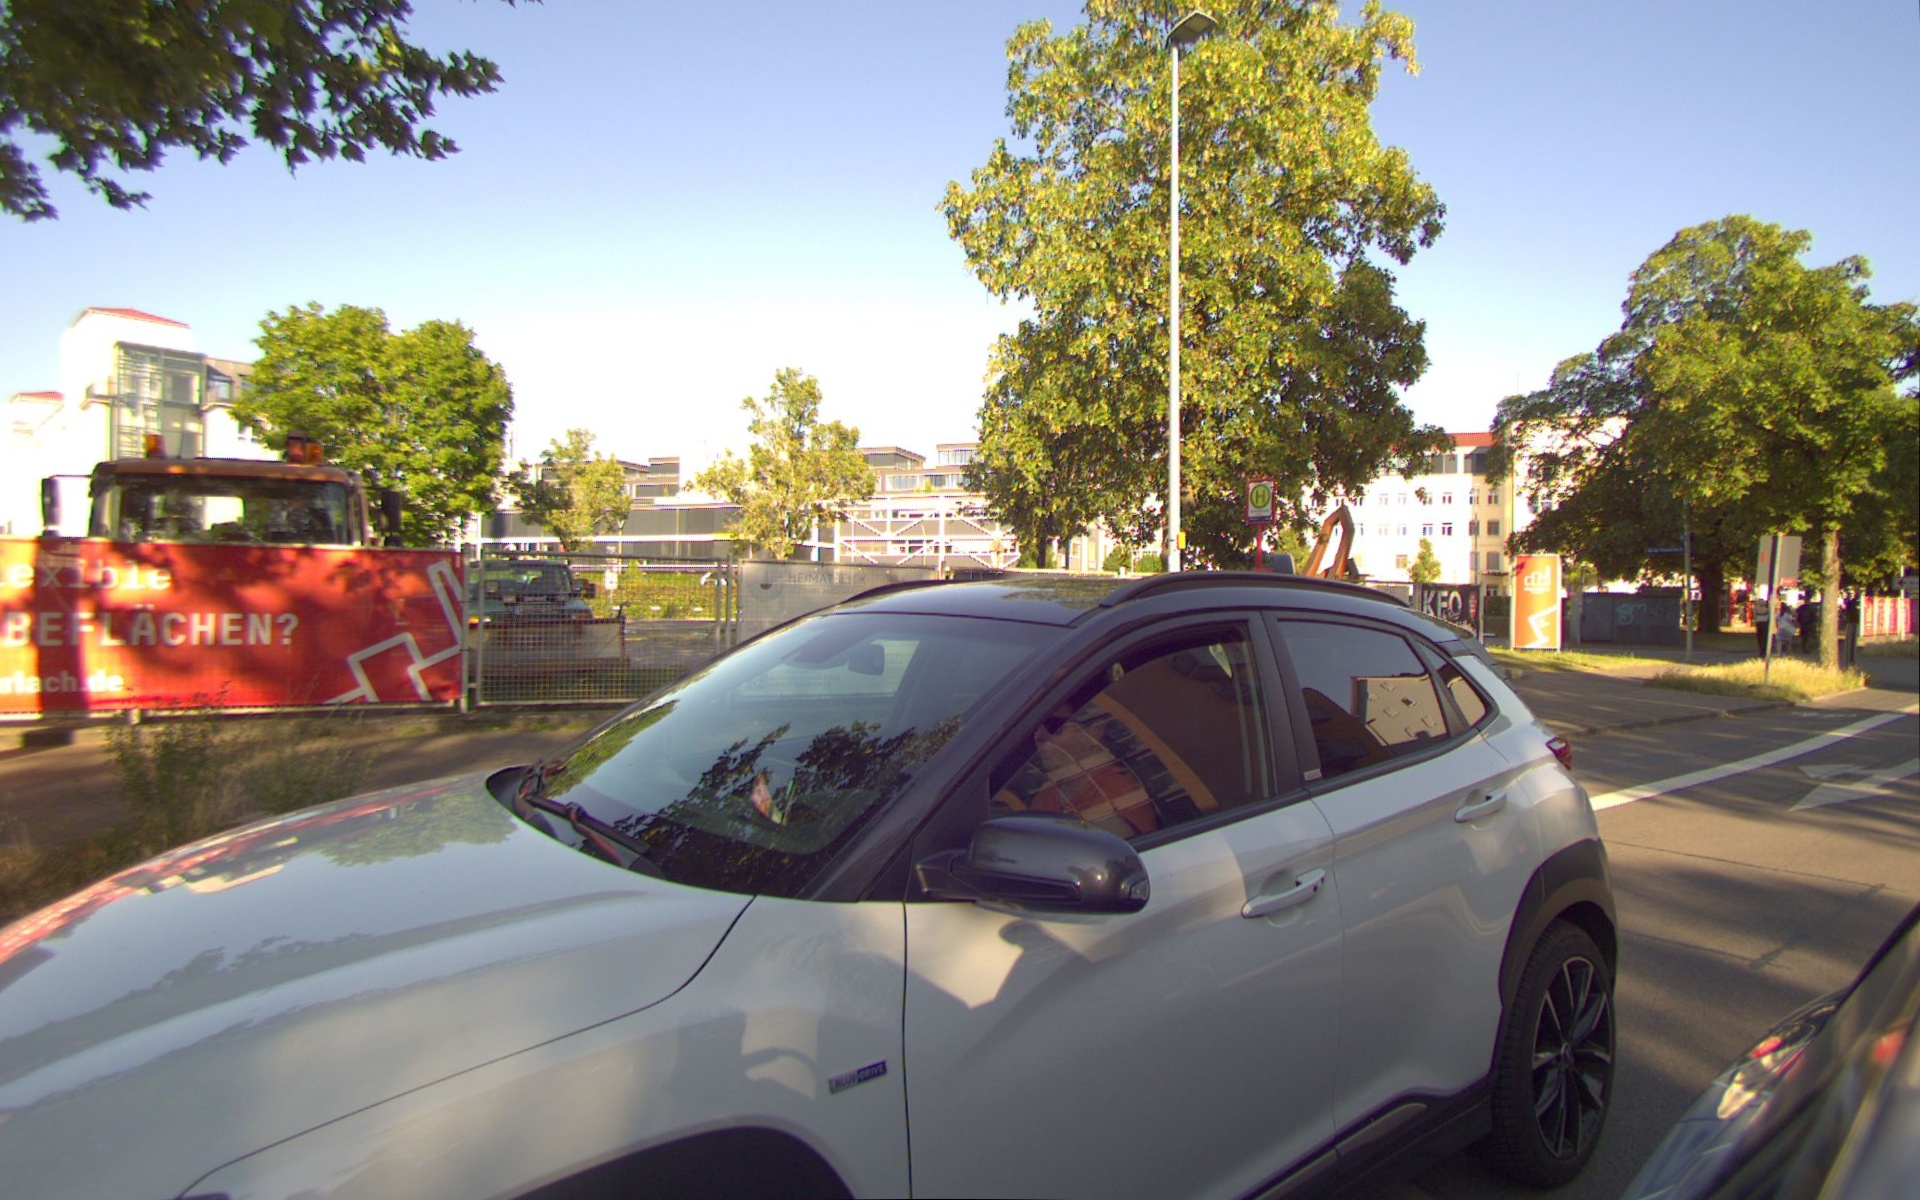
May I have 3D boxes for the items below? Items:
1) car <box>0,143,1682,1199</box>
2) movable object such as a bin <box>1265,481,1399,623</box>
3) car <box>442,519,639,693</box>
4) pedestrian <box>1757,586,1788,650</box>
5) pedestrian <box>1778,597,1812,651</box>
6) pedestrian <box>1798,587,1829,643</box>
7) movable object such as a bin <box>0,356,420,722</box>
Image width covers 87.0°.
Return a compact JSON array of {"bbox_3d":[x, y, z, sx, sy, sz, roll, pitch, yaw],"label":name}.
[{"bbox_3d":[0.003,0.548,2.454,3.893,1.618,1.894,3,-2,-39],"label":"car"},{"bbox_3d":[15.522,-1.885,42.766,3.910,5.547,6.022,0,0,6],"label":"movable object such as a bin"},{"bbox_3d":[-5.668,0.041,13.297,2.001,1.851,4.612,0,0,-28],"label":"car"},{"bbox_3d":[22.724,0.486,28.299,0.607,1.759,0.629,0,0,44],"label":"pedestrian"},{"bbox_3d":[22.720,0.646,27.527,0.627,1.452,0.609,0,0,-40],"label":"pedestrian"},{"bbox_3d":[26.116,0.459,30.983,0.692,1.689,0.630,0,0,38],"label":"pedestrian"},{"bbox_3d":[-8.391,-0.551,12.058,3.154,3.087,6.295,0,0,-31],"label":"movable object such as a bin"}]
